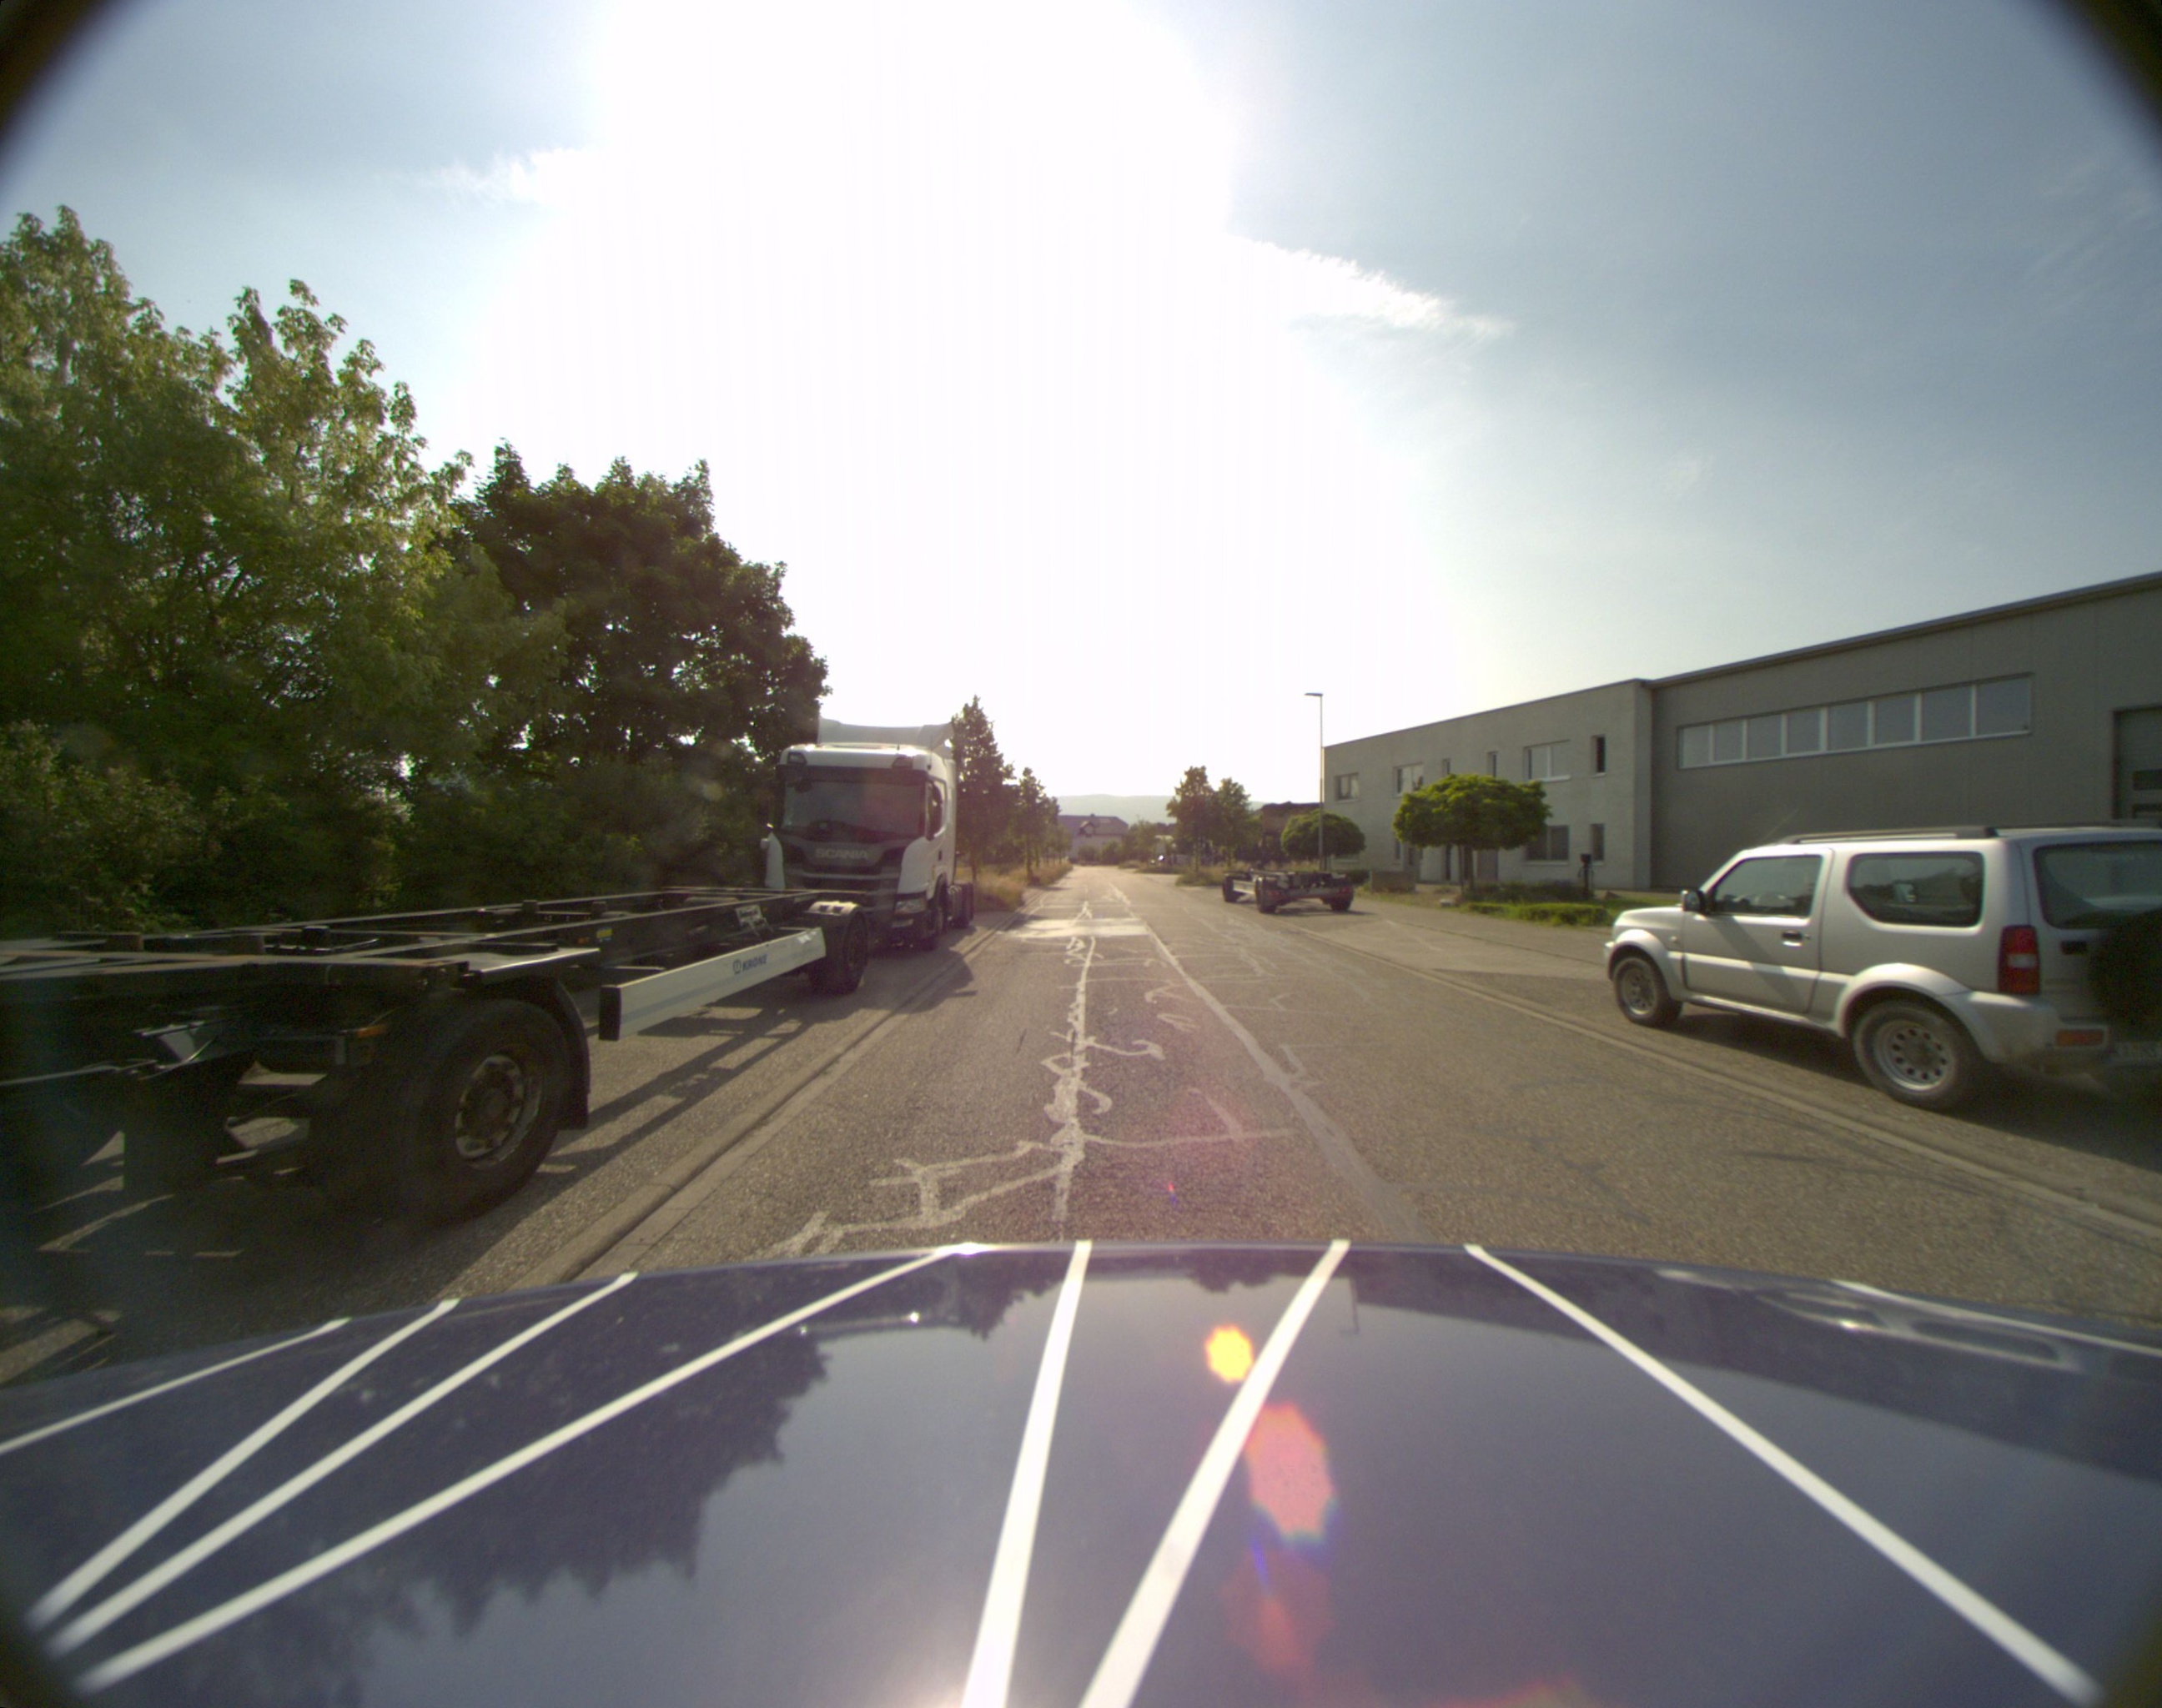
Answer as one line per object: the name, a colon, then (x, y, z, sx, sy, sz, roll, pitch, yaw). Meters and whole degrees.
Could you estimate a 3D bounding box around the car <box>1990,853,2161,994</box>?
car: (12.701, 0.735, 7.463, 1.983, 1.468, 4.415, -1, 0, -17)

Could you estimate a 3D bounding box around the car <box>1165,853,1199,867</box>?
car: (12.565, 0.713, 94.984, 3.996, 1.718, 2.000, 0, 0, 1)

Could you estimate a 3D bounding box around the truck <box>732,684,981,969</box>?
truck: (-3.574, -0.380, 13.778, 2.699, 3.941, 6.047, 2, 0, -1)

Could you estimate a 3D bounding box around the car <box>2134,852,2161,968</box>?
car: (15.199, 0.699, 8.105, 1.686, 1.468, 4.344, -1, 0, -19)

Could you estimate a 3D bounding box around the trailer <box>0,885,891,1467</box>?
trailer: (-3.396, 1.019, 5.773, 1.943, 1.228, 7.451, 1, 0, 1)

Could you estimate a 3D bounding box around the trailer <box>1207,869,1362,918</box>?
trailer: (6.175, 1.135, 24.922, 2.552, 1.068, 9.732, -2, 0, 1)

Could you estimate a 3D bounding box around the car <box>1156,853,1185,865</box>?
car: (13.919, 0.745, 117.889, 4.004, 1.783, 1.996, 0, 0, -21)

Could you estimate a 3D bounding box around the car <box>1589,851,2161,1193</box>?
car: (5.712, 0.828, 5.527, 1.601, 1.641, 3.644, -1, 0, 1)
